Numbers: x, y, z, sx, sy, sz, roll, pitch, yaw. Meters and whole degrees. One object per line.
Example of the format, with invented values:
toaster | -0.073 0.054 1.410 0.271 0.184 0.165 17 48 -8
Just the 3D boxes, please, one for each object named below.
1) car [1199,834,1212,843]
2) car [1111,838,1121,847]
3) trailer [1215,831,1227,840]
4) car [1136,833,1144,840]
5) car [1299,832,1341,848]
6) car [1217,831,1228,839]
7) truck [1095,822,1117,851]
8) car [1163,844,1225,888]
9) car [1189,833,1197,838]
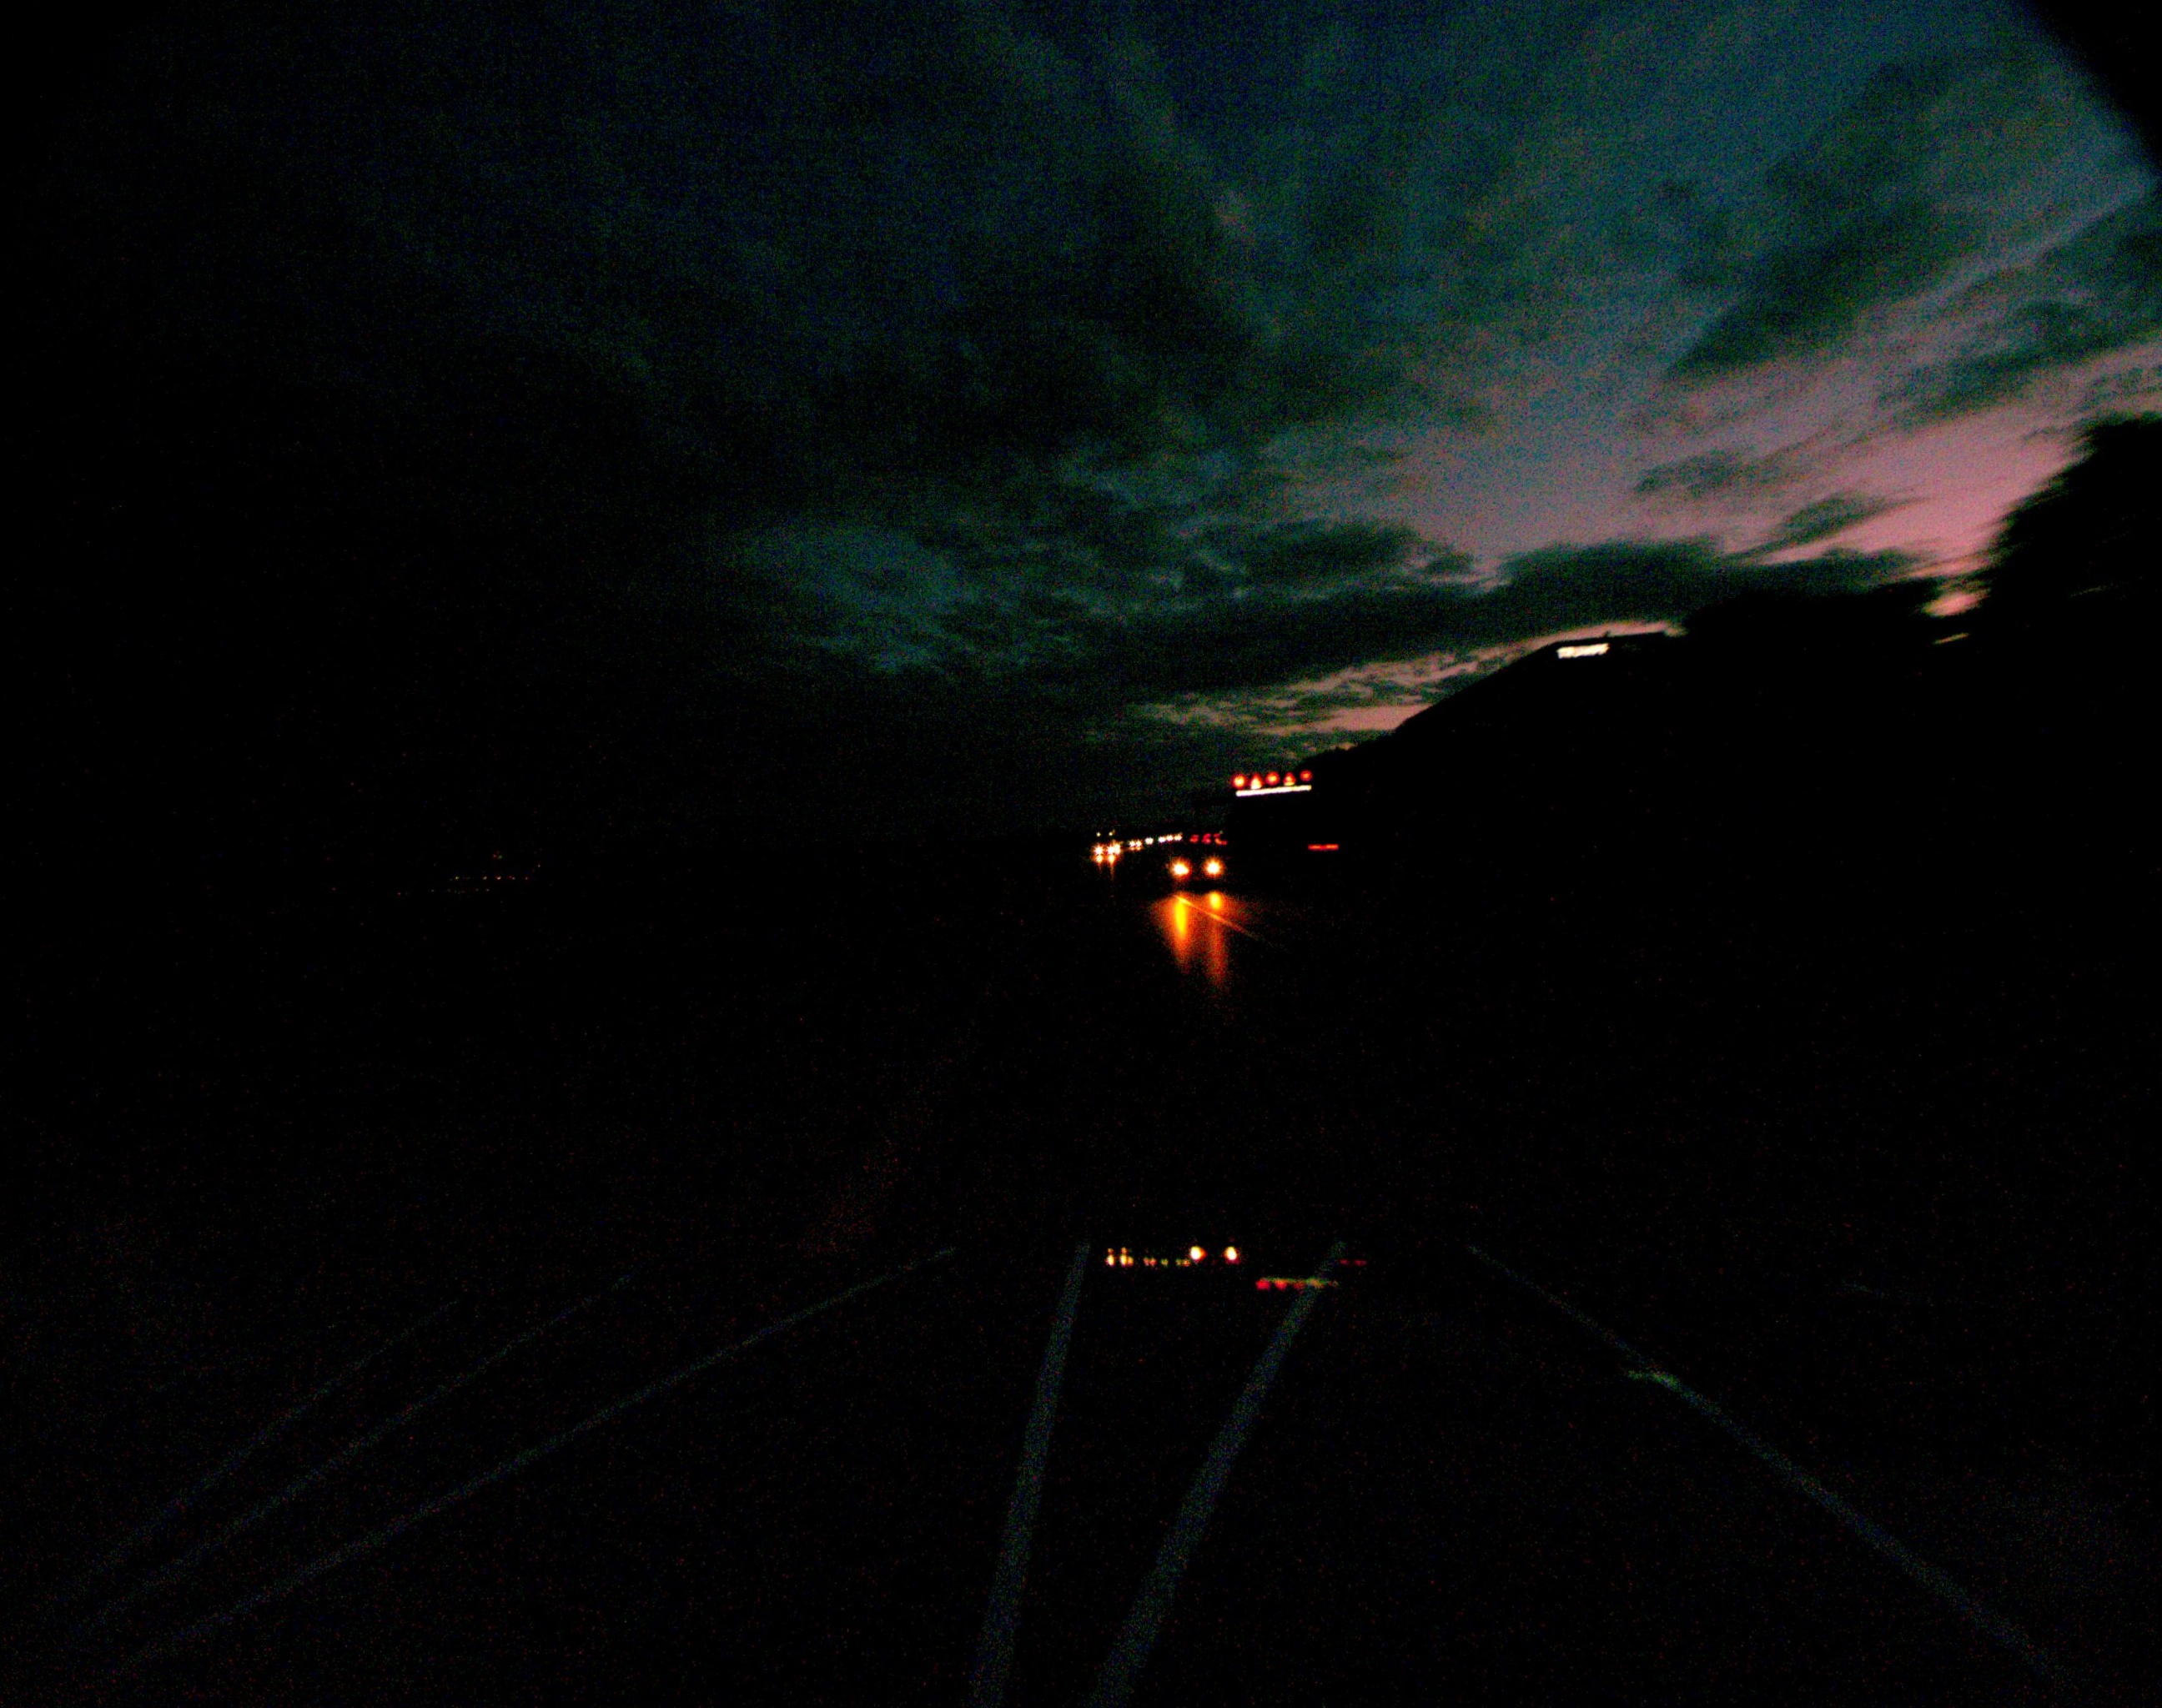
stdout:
car | 26.827 -3.372 163.878 1.917 1.857 6.014 -3 2 1
car | 8.245 -2.746 176.670 1.998 2.002 4.000 -3 2 6
trailer | 32.501 -4.220 176.354 1.917 1.991 4.241 -4 1 3
car | 14.798 -4.386 191.105 1.653 1.655 3.774 -3 2 2
car | 21.242 -1.268 67.771 2.065 1.219 5.232 -3 2 1
car | 33.911 -4.492 181.867 1.917 1.857 5.523 -3 2 3
truck | 4.190 -2.911 123.297 3.026 4.373 11.614 -3 2 3
car | 4.379 0.425 29.971 1.717 1.471 3.998 -3 2 -1
car | 32.639 -5.525 221.445 1.693 1.346 4.897 -3 2 3
